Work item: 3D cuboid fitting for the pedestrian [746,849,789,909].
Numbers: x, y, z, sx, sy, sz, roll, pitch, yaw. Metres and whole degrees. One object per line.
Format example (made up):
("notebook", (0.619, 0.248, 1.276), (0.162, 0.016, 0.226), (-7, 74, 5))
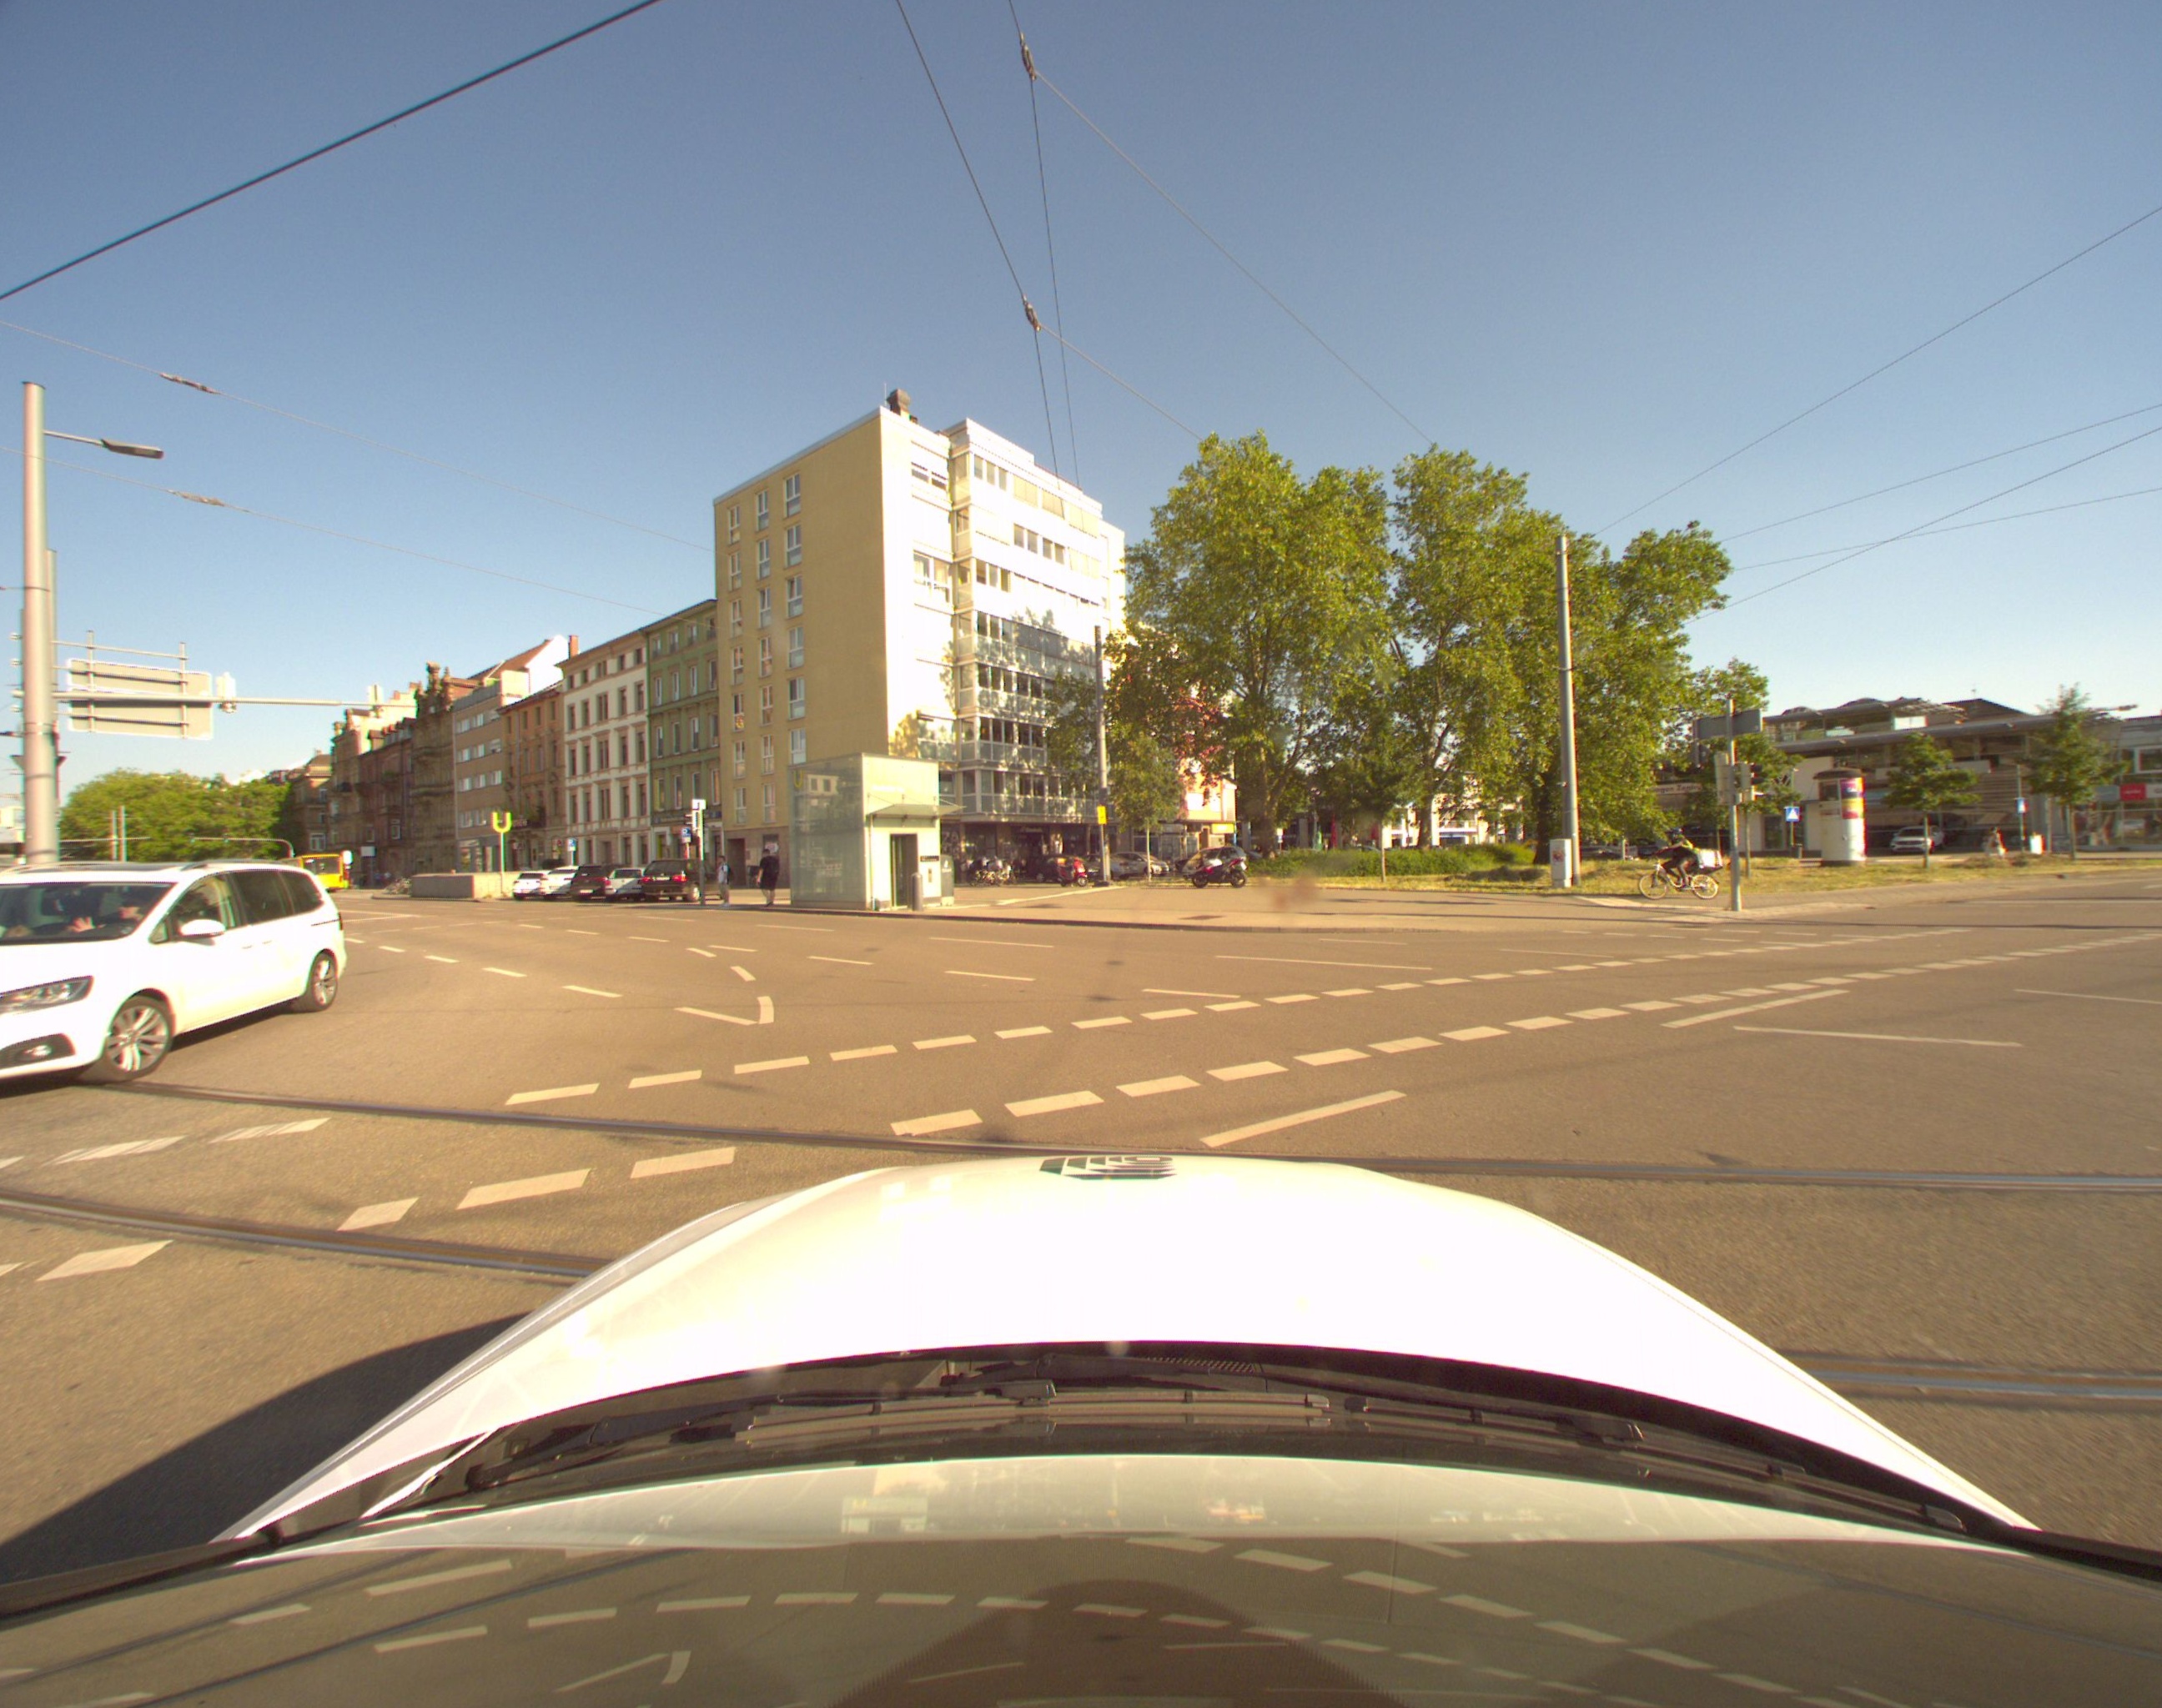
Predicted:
("pedestrian", (-9.264, 0.734, 24.075), (0.862, 1.728, 0.796), (-2, 0, 6))

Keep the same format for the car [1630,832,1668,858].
("car", (42.480, -0.721, 60.987), (1.777, 1.509, 4.026), (1, 6, 28))

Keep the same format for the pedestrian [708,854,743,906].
("pedestrian", (-11.992, 0.862, 27.486), (0.744, 1.728, 0.702), (-2, 0, 22))

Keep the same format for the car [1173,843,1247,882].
("car", (6.540, 0.407, 41.002), (1.897, 1.698, 4.026), (-4, -1, 38))

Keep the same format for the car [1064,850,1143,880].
("car", (1.207, 0.566, 43.963), (3.949, 1.419, 1.868), (2, 3, 38))

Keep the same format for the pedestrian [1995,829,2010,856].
("pedestrian", (44.060, -0.551, 38.936), (0.576, 1.315, 0.407), (-1, 0, -44))

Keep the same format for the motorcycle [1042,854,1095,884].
("motorcycle", (-0.492, 0.588, 31.324), (1.780, 1.046, 0.887), (-3, 0, 35))

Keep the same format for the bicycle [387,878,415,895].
("bicycle", (-44.667, 2.137, 53.494), (1.752, 1.147, 0.472), (-1, 0, 14))

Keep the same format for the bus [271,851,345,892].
("bus", (-67.584, 1.572, 71.074), (12.378, 3.181, 2.742), (-2, 1, 38))

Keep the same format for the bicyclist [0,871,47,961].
("bicyclist", (-19.954, 1.152, 15.194), (0.805, 1.616, 0.680), (-2, 1, 33))

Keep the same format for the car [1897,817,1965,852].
("car", (50.826, -1.205, 48.709), (4.014, 2.013, 1.980), (-2, 3, -32))

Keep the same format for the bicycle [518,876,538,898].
("bicycle", (-29.129, 1.737, 42.908), (0.418, 1.110, 1.091), (0, -1, -11))

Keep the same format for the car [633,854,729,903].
("car", (-15.977, 0.953, 32.781), (1.949, 1.814, 4.246), (-1, -1, -3))

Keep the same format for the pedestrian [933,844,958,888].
("pedestrian", (-5.483, 0.491, 32.976), (0.755, 1.728, 0.691), (-2, 0, -31))

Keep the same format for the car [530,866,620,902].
("car", (-23.937, 1.384, 38.706), (1.951, 1.570, 4.242), (-1, -1, -6))

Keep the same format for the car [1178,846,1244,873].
("car", (8.640, 0.341, 54.264), (3.949, 1.635, 1.868), (2, 3, 38))

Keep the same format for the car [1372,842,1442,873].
("car", (21.754, 0.185, 54.388), (3.949, 1.868, 1.869), (2, 3, 36))

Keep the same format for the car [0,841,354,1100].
("car", (-8.725, 0.841, 7.288), (1.944, 1.733, 4.429), (-3, 0, -23))

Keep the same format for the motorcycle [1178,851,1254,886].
("motorcycle", (4.482, 0.489, 27.011), (2.254, 1.074, 1.046), (-1, 2, 23))

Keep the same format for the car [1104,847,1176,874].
("car", (3.497, 0.350, 48.737), (3.949, 1.419, 1.868), (2, 3, 38))

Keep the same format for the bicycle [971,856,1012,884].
("bicycle", (-4.245, 0.759, 38.857), (0.805, 1.200, 2.011), (-2, 1, 32))

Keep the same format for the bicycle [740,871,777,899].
("bicycle", (-17.317, 1.656, 43.684), (2.201, 1.356, 0.939), (2, 3, 41))

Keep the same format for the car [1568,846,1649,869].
("car", (34.900, 0.185, 53.974), (1.760, 1.336, 4.127), (-2, 3, -31))

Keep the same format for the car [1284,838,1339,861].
("car", (19.191, -0.390, 67.822), (3.949, 1.779, 1.868), (2, 3, 38))

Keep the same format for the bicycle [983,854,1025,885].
("bicycle", (-3.580, 0.721, 38.010), (0.805, 1.345, 2.011), (-2, 1, 32))

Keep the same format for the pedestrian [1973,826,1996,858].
("pedestrian", (43.669, -0.559, 39.364), (0.836, 1.515, 0.715), (-2, 0, -44))

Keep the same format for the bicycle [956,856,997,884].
("bicycle", (-5.031, 0.756, 39.292), (0.805, 1.248, 2.011), (-2, 1, 32))

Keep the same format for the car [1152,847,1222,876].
("car", (6.699, 0.464, 51.611), (3.949, 1.635, 1.868), (2, 3, 38))

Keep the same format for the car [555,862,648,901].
("car", (-21.307, 1.193, 36.404), (1.951, 1.598, 4.243), (-1, -1, -5))

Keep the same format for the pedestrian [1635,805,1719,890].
("pedestrian", (14.435, -0.177, 19.770), (1.262, 2.013, 1.034), (0, 2, -1))

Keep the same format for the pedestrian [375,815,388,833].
("pedestrian", (-76.870, -3.334, 89.526), (1.122, 1.930, 0.830), (-2, 0, 38))

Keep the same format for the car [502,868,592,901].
("car", (-26.750, 1.482, 40.977), (1.951, 1.464, 4.108), (-2, 0, -3))

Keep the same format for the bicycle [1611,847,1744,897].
("bicycle", (14.467, 0.420, 19.805), (2.515, 1.123, 1.034), (0, 2, -2))

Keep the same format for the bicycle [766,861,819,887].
("bicycle", (-14.823, 1.041, 41.765), (3.022, 1.264, 0.994), (-2, 0, 37))

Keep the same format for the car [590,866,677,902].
("car", (-18.655, 1.259, 34.166), (1.780, 1.400, 3.884), (-1, -2, -6))

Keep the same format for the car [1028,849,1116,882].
("car", (-0.486, 0.542, 41.766), (4.173, 1.482, 1.869), (1, 3, 35))

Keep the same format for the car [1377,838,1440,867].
("car", (23.904, -0.142, 59.472), (3.949, 1.999, 1.869), (2, 3, 36))

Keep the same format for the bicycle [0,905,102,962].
("bicycle", (-19.897, 1.507, 15.242), (0.805, 0.942, 1.907), (-2, 1, 33))

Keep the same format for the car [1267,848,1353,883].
("car", (11.411, 0.609, 40.570), (3.956, 1.511, 1.808), (-3, -4, 17))
